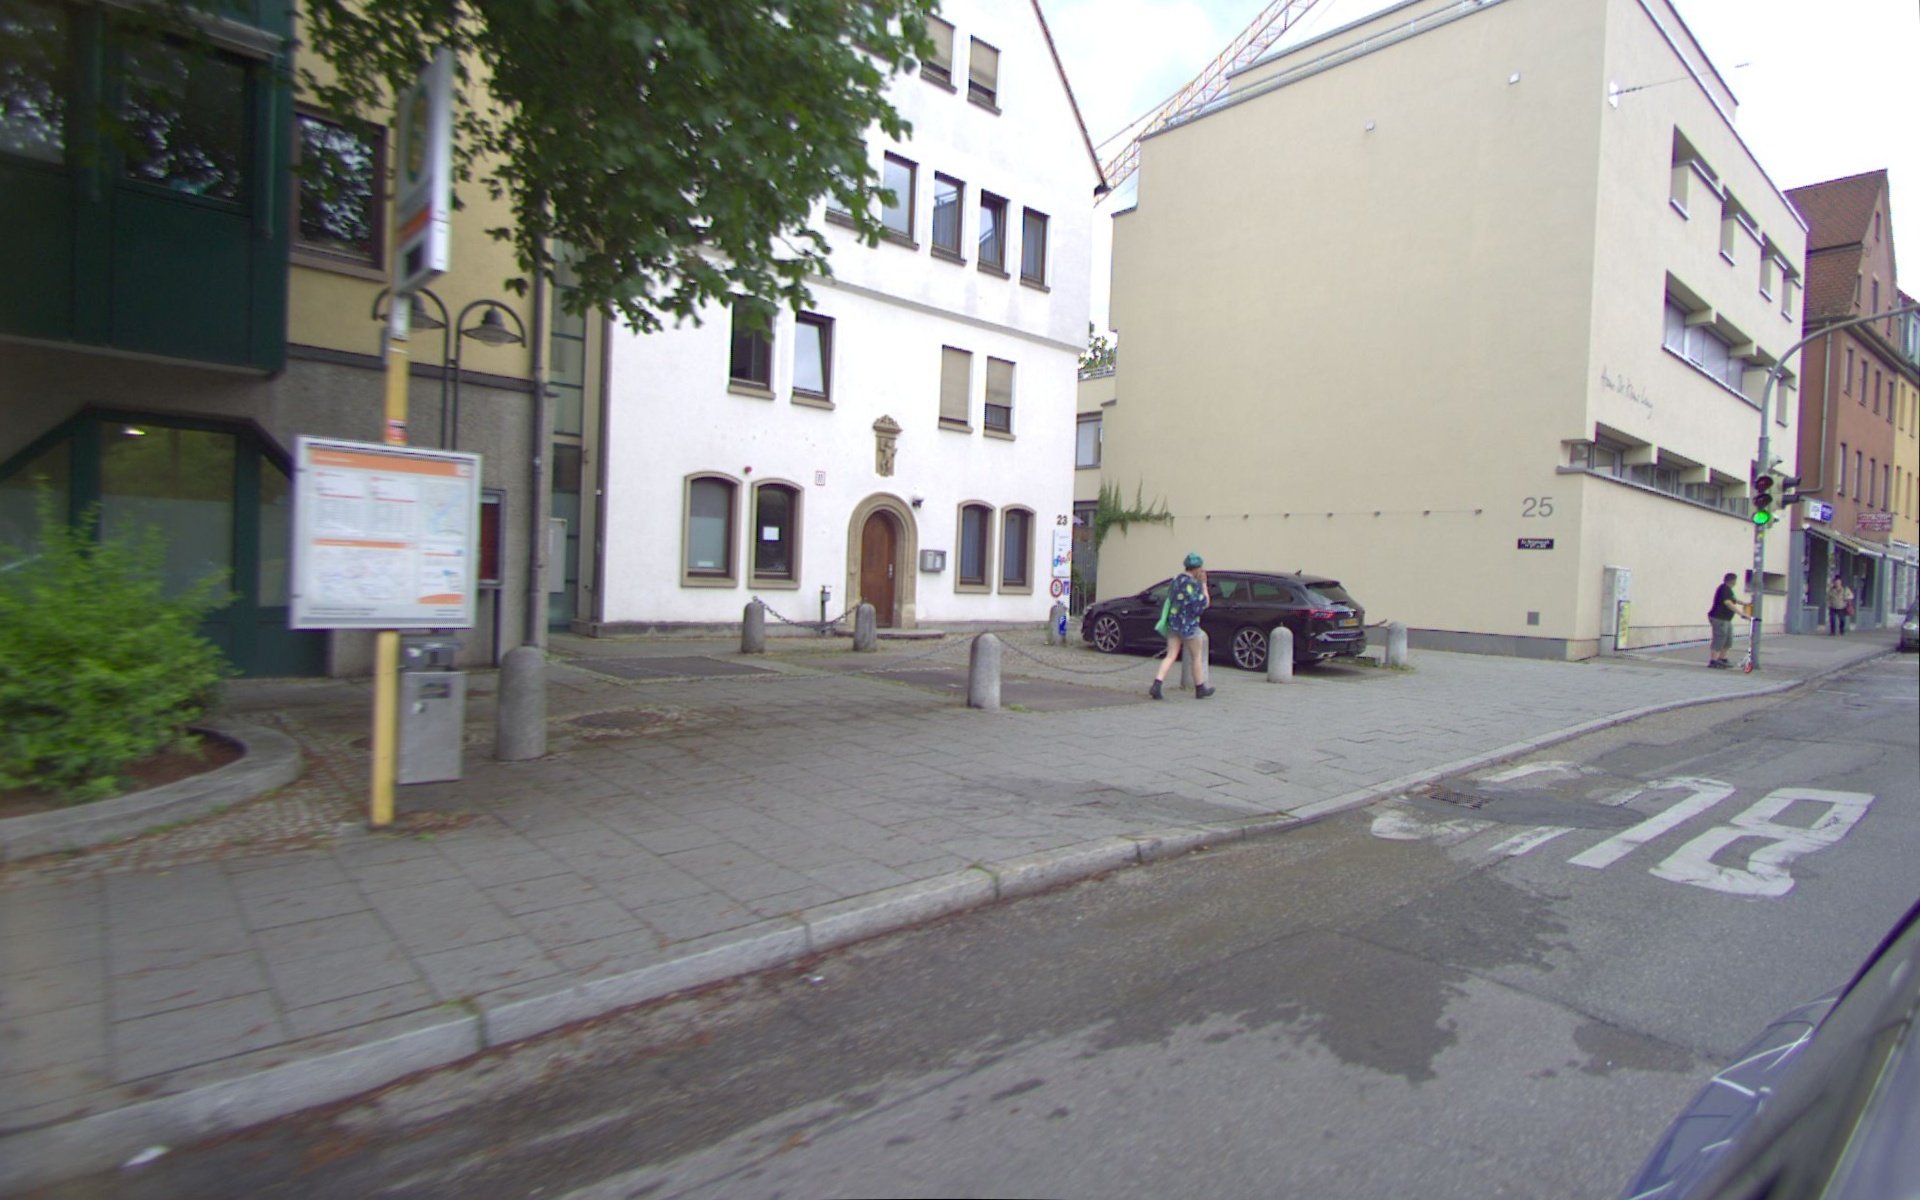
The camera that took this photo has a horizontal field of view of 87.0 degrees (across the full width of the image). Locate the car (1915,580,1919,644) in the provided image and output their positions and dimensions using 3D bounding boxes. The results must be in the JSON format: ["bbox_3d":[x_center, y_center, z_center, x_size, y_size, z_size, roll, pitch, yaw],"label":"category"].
[{"bbox_3d":[25.657,0.303,25.673,3.720,1.579,1.715,-1,2,-41],"label":"car"}]

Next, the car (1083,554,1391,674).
[{"bbox_3d":[4.272,0.097,16.250,1.820,1.593,4.521,-1,4,-40],"label":"car"}]

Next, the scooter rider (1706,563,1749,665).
[{"bbox_3d":[12.861,0.219,16.971,0.451,1.650,0.499,5,5,35],"label":"scooter rider"}]

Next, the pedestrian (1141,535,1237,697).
[{"bbox_3d":[2.553,0.160,11.288,0.843,1.737,0.604,0,2,-33],"label":"pedestrian"}]

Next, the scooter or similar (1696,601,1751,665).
[{"bbox_3d":[12.879,0.540,17.073,0.660,0.956,0.809,5,6,39],"label":"scooter or similar"}]

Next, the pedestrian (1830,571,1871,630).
[{"bbox_3d":[25.957,-0.002,29.496,0.873,1.669,0.702,1,2,-41],"label":"pedestrian"}]
